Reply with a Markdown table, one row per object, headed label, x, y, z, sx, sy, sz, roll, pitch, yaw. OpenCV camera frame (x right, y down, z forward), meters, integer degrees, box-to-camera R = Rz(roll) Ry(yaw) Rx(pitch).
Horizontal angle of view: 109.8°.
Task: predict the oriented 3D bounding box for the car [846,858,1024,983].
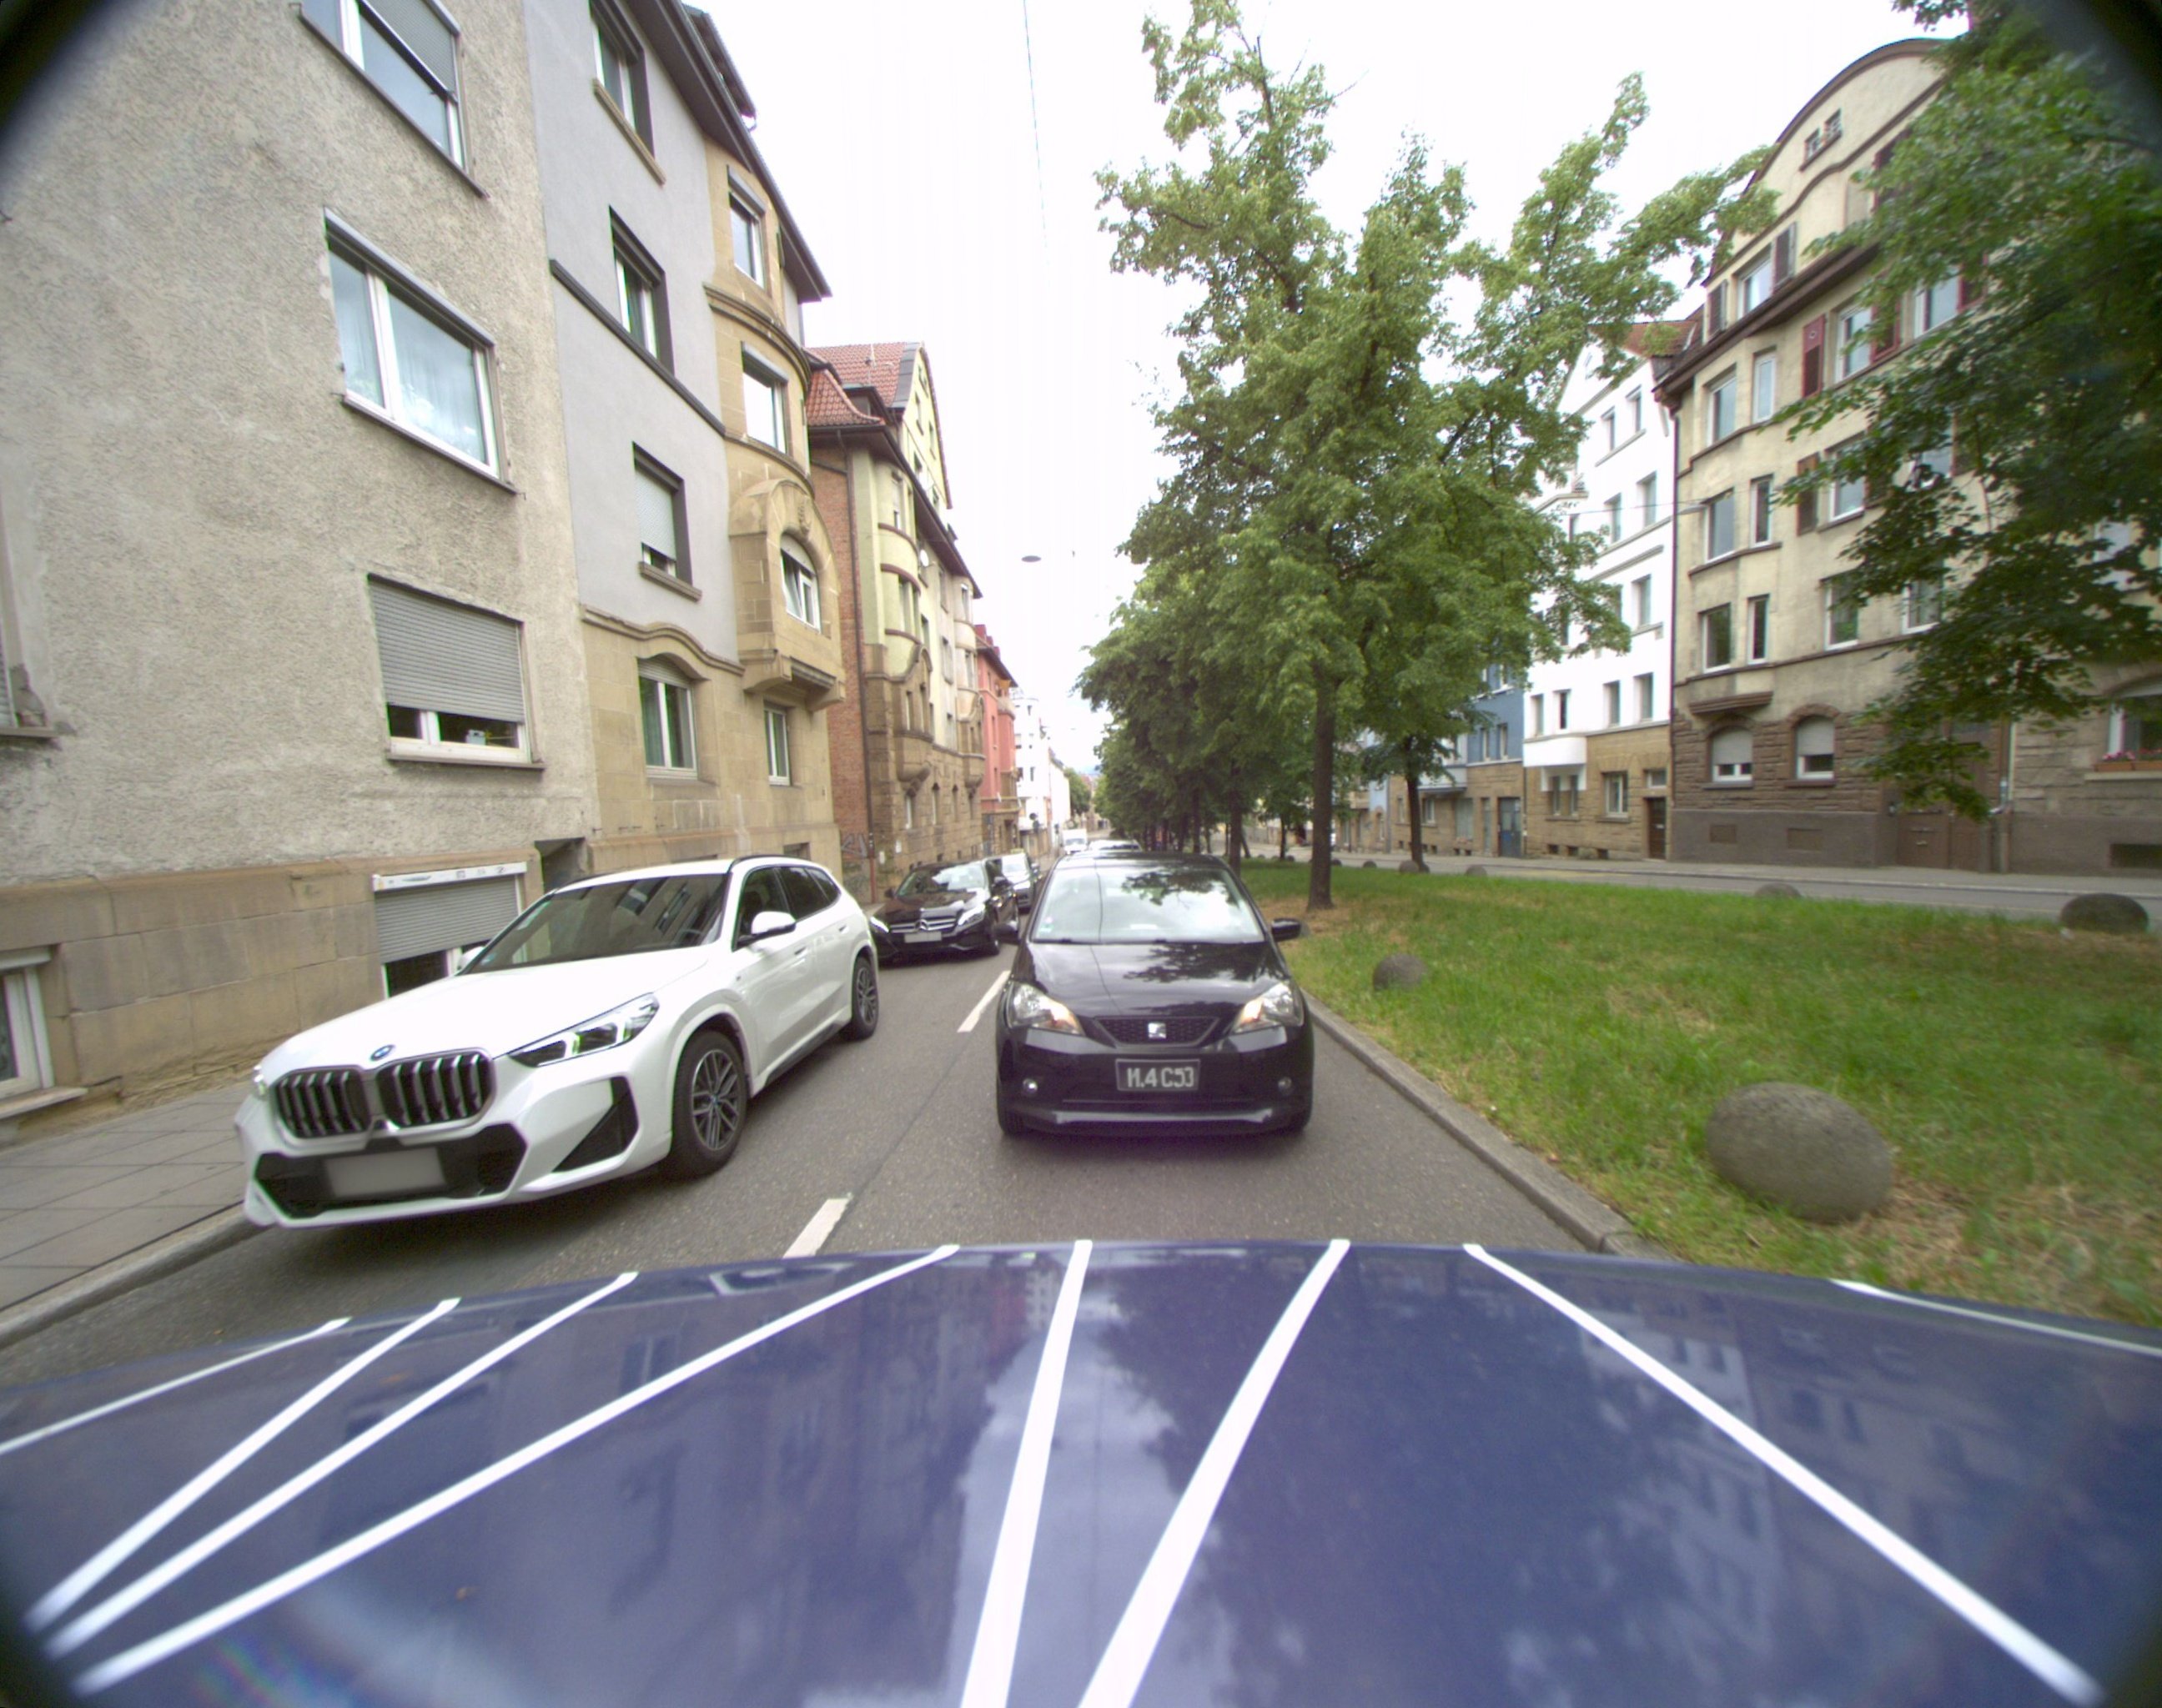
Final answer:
| label | x | y | z | sx | sy | sz | roll | pitch | yaw |
| --- | --- | --- | --- | --- | --- | --- | --- | --- | --- |
| car | -2.109 | 0.909 | 12.266 | 1.884 | 1.370 | 4.205 | -6 | 1 | 1 |

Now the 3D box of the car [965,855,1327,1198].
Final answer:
| label | x | y | z | sx | sy | sz | roll | pitch | yaw |
| --- | --- | --- | --- | --- | --- | --- | --- | --- | --- |
| car | 0.313 | 0.784 | 5.058 | 1.611 | 1.457 | 3.296 | 0 | 2 | 1 |

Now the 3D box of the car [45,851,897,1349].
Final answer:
| label | x | y | z | sx | sy | sz | roll | pitch | yaw |
| --- | --- | --- | --- | --- | --- | --- | --- | --- | --- |
| car | -2.744 | 0.904 | 4.957 | 1.859 | 1.547 | 4.349 | -6 | 2 | 0 |

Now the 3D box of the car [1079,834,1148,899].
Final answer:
| label | x | y | z | sx | sy | sz | roll | pitch | yaw |
| --- | --- | --- | --- | --- | --- | --- | --- | --- | --- |
| car | 0.802 | 0.254 | 20.145 | 1.607 | 1.492 | 3.736 | -2 | 2 | 1 |

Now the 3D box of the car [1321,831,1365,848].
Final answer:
| label | x | y | z | sx | sy | sz | roll | pitch | yaw |
| --- | --- | --- | --- | --- | --- | --- | --- | --- | --- |
| car | 22.156 | -1.262 | 64.320 | 3.291 | 1.323 | 1.672 | -2 | 2 | 10 |

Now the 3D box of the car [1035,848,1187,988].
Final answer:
| label | x | y | z | sx | sy | sz | roll | pitch | yaw |
| --- | --- | --- | --- | --- | --- | --- | --- | --- | --- |
| car | 0.360 | 0.708 | 10.357 | 1.664 | 1.457 | 3.580 | -2 | 2 | 1 |

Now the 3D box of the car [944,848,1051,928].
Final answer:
| label | x | y | z | sx | sy | sz | roll | pitch | yaw |
| --- | --- | --- | --- | --- | --- | --- | --- | --- | --- |
| car | -1.947 | 0.746 | 19.151 | 1.936 | 1.506 | 4.302 | -6 | 1 | 2 |

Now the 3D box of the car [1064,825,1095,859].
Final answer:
| label | x | y | z | sx | sy | sz | roll | pitch | yaw |
| --- | --- | --- | --- | --- | --- | --- | --- | --- | --- |
| car | -0.172 | -1.166 | 70.768 | 2.716 | 2.879 | 6.451 | -2 | 2 | -1 |
